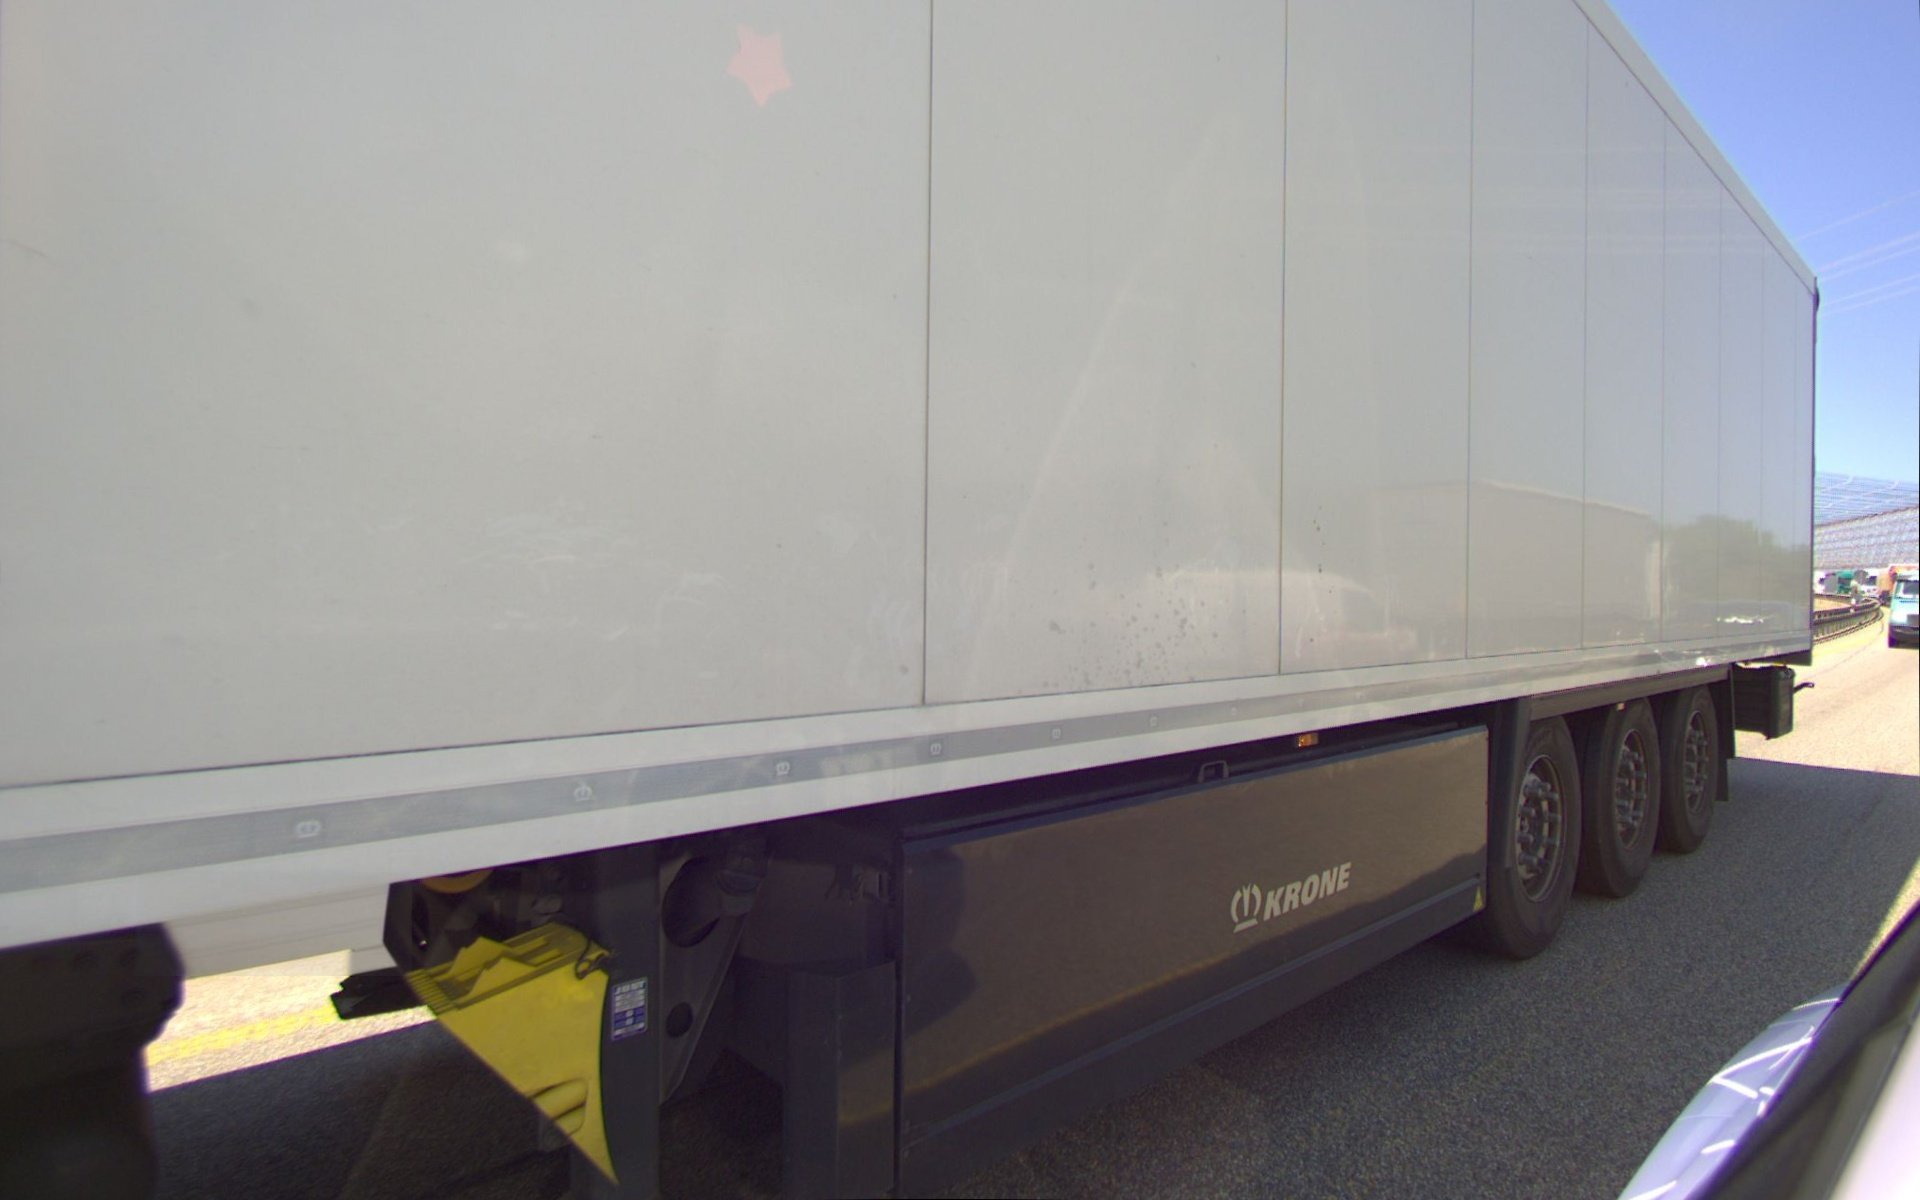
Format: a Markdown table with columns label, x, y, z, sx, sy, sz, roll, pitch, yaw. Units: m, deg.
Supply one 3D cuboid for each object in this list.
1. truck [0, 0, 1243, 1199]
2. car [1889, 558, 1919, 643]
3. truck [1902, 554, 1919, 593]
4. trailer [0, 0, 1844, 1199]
| label | x | y | z | sx | sy | sz | roll | pitch | yaw |
| --- | --- | --- | --- | --- | --- | --- | --- | --- | --- |
| truck | -3.233 | -0.748 | 0.481 | 8.095 | 4.076 | 2.517 | -1 | 0 | -42 |
| car | 29.615 | -0.009 | 30.076 | 6.782 | 2.355 | 2.215 | -1 | 1 | -41 |
| truck | 88.917 | -2.407 | 93.508 | 2.465 | 3.528 | 9.711 | 0 | 0 | 44 |
| trailer | 1.883 | -0.685 | 5.065 | 11.351 | 4.179 | 2.535 | -1 | 0 | -42 |
